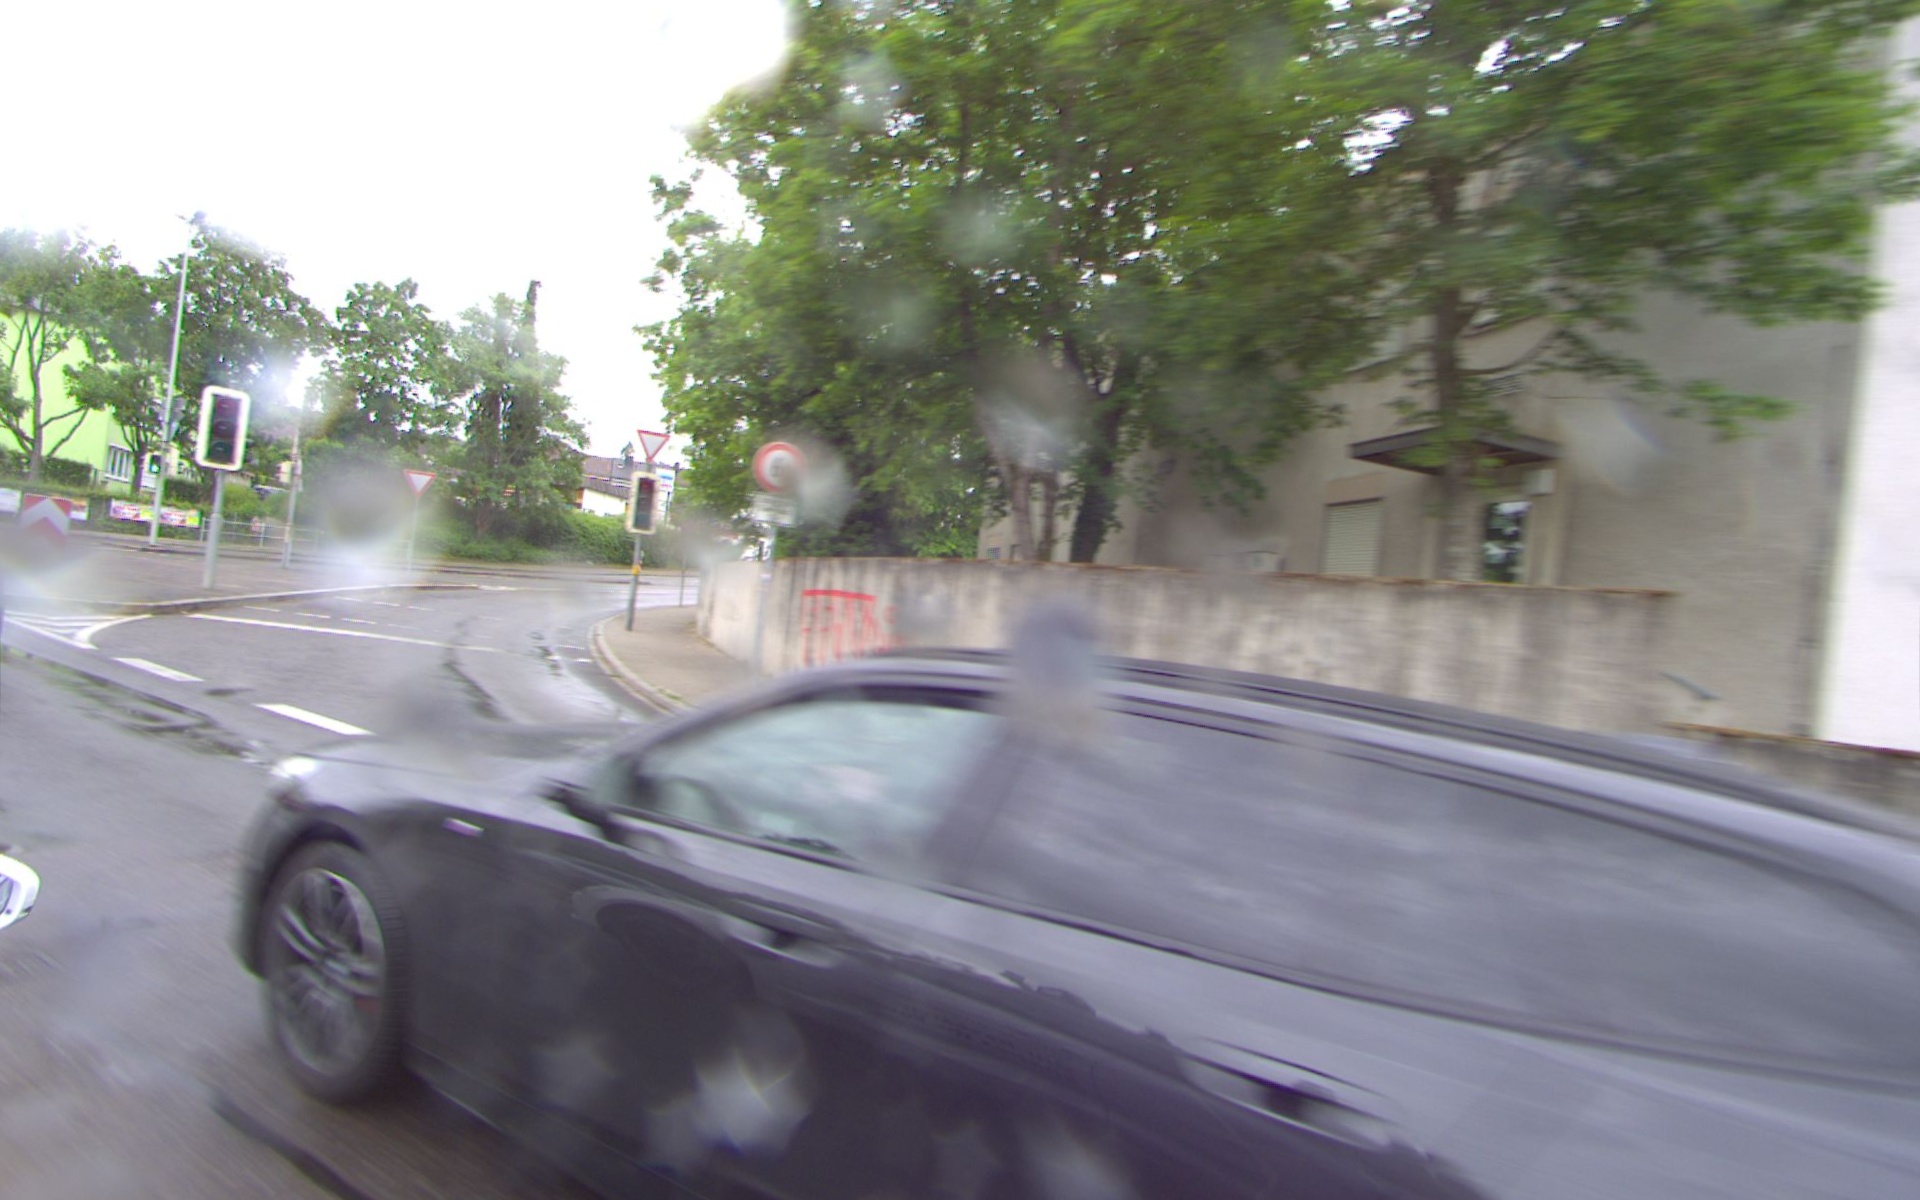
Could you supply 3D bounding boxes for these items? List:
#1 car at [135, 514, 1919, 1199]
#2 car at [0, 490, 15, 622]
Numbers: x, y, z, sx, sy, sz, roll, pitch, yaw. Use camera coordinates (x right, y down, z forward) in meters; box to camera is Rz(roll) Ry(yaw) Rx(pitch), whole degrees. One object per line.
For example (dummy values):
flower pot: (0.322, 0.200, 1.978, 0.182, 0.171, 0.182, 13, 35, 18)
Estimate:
car: (-0.042, 0.794, 2.806, 4.697, 1.476, 1.908, 7, 0, 30)
car: (-10.007, -0.457, 8.531, 4.433, 1.444, 1.709, 7, 0, 31)
